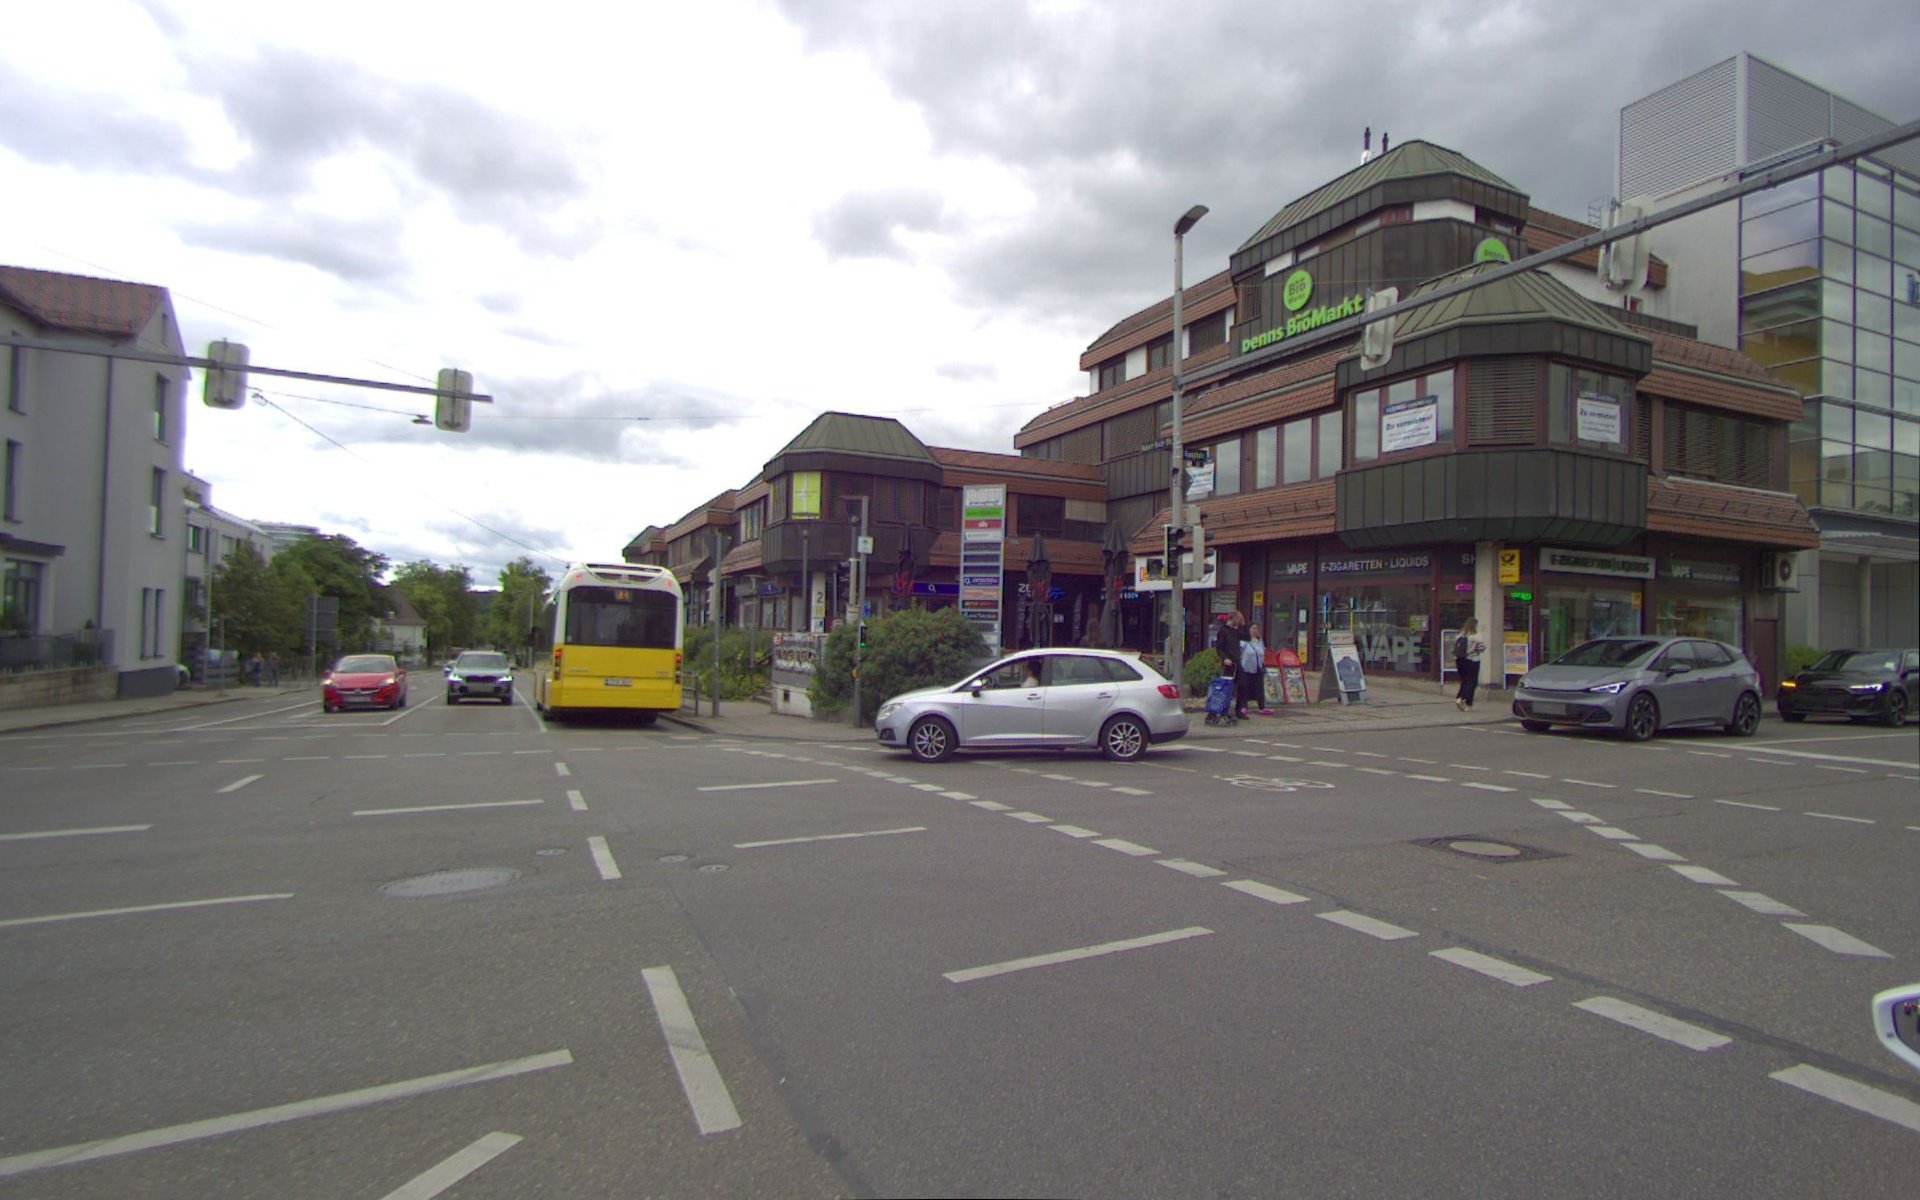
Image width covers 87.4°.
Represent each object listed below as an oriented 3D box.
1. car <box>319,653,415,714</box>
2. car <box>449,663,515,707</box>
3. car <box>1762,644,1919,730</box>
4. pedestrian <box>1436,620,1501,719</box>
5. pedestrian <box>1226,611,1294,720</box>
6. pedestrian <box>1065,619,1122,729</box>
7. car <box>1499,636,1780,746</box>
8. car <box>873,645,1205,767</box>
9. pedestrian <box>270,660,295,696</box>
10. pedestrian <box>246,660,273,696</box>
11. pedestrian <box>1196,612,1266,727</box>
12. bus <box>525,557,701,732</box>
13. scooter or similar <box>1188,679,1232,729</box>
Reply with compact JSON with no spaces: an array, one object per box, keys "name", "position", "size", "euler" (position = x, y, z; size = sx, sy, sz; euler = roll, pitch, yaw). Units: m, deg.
[{"name":"car","position":[-15.925,2.208,27.164],"size":[1.791,1.505,3.976],"euler":[2,-4,-25]},{"name":"car","position":[-15.245,2.681,32.095],"size":[1.776,1.295,3.496],"euler":[2,-4,-25]},{"name":"car","position":[17.433,1.619,19.328],"size":[3.949,1.462,1.695],"euler":[2,-1,-28]},{"name":"pedestrian","position":[9.118,1.230,18.015],"size":[0.768,1.715,0.745],"euler":[1,-1,-30]},{"name":"pedestrian","position":[5.235,1.121,17.533],"size":[0.767,1.832,0.805],"euler":[1,0,-33]},{"name":"pedestrian","position":[2.157,1.173,16.302],"size":[0.690,1.736,0.811],"euler":[0,-1,-13]},{"name":"car","position":[10.763,1.346,15.876],"size":[4.328,1.537,1.753],"euler":[1,-3,-26]},{"name":"car","position":[1.009,1.370,13.386],"size":[4.115,1.436,1.641],"euler":[-1,-2,2]},{"name":"pedestrian","position":[-32.956,3.774,48.865],"size":[0.851,1.674,0.859],"euler":[1,-1,-23]},{"name":"pedestrian","position":[-33.781,3.738,48.437],"size":[0.851,1.674,0.859],"euler":[1,-1,-23]},{"name":"pedestrian","position":[4.460,1.122,16.564],"size":[0.738,1.832,0.805],"euler":[1,0,-33]},{"name":"bus","position":[-9.242,1.249,25.529],"size":[2.957,3.370,12.233],"euler":[1,-4,-25]},{"name":"scooter or similar","position":[3.994,1.651,16.056],"size":[0.533,0.736,0.451],"euler":[1,-1,-33]}]
